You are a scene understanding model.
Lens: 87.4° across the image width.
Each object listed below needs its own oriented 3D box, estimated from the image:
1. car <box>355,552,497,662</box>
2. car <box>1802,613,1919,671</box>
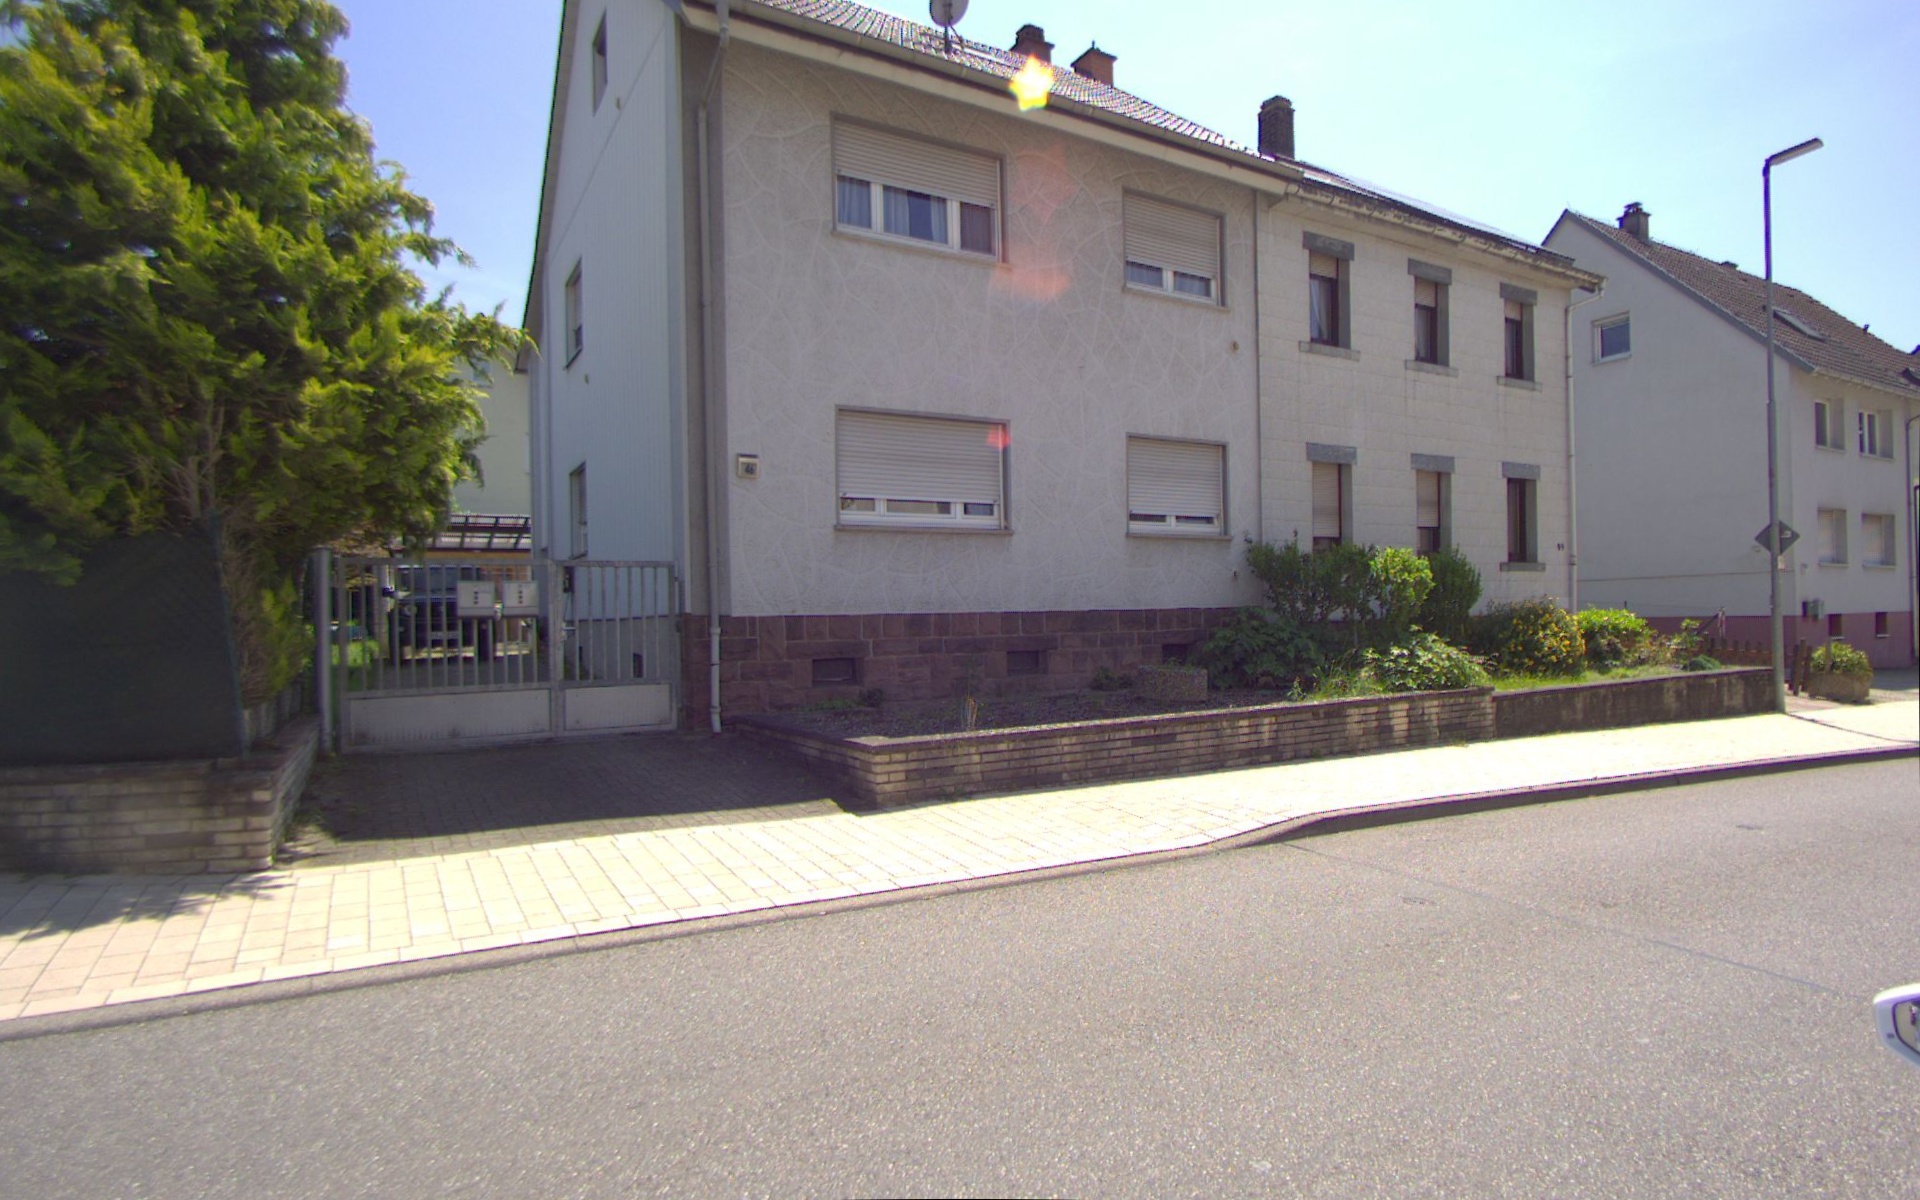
[{"bbox_3d":[-9.526,0.128,17.926,1.976,1.691,4.324,1,-1,-29],"label":"car"},{"bbox_3d":[26.282,1.137,28.004,1.811,1.566,3.968,0,-1,-30],"label":"car"}]
